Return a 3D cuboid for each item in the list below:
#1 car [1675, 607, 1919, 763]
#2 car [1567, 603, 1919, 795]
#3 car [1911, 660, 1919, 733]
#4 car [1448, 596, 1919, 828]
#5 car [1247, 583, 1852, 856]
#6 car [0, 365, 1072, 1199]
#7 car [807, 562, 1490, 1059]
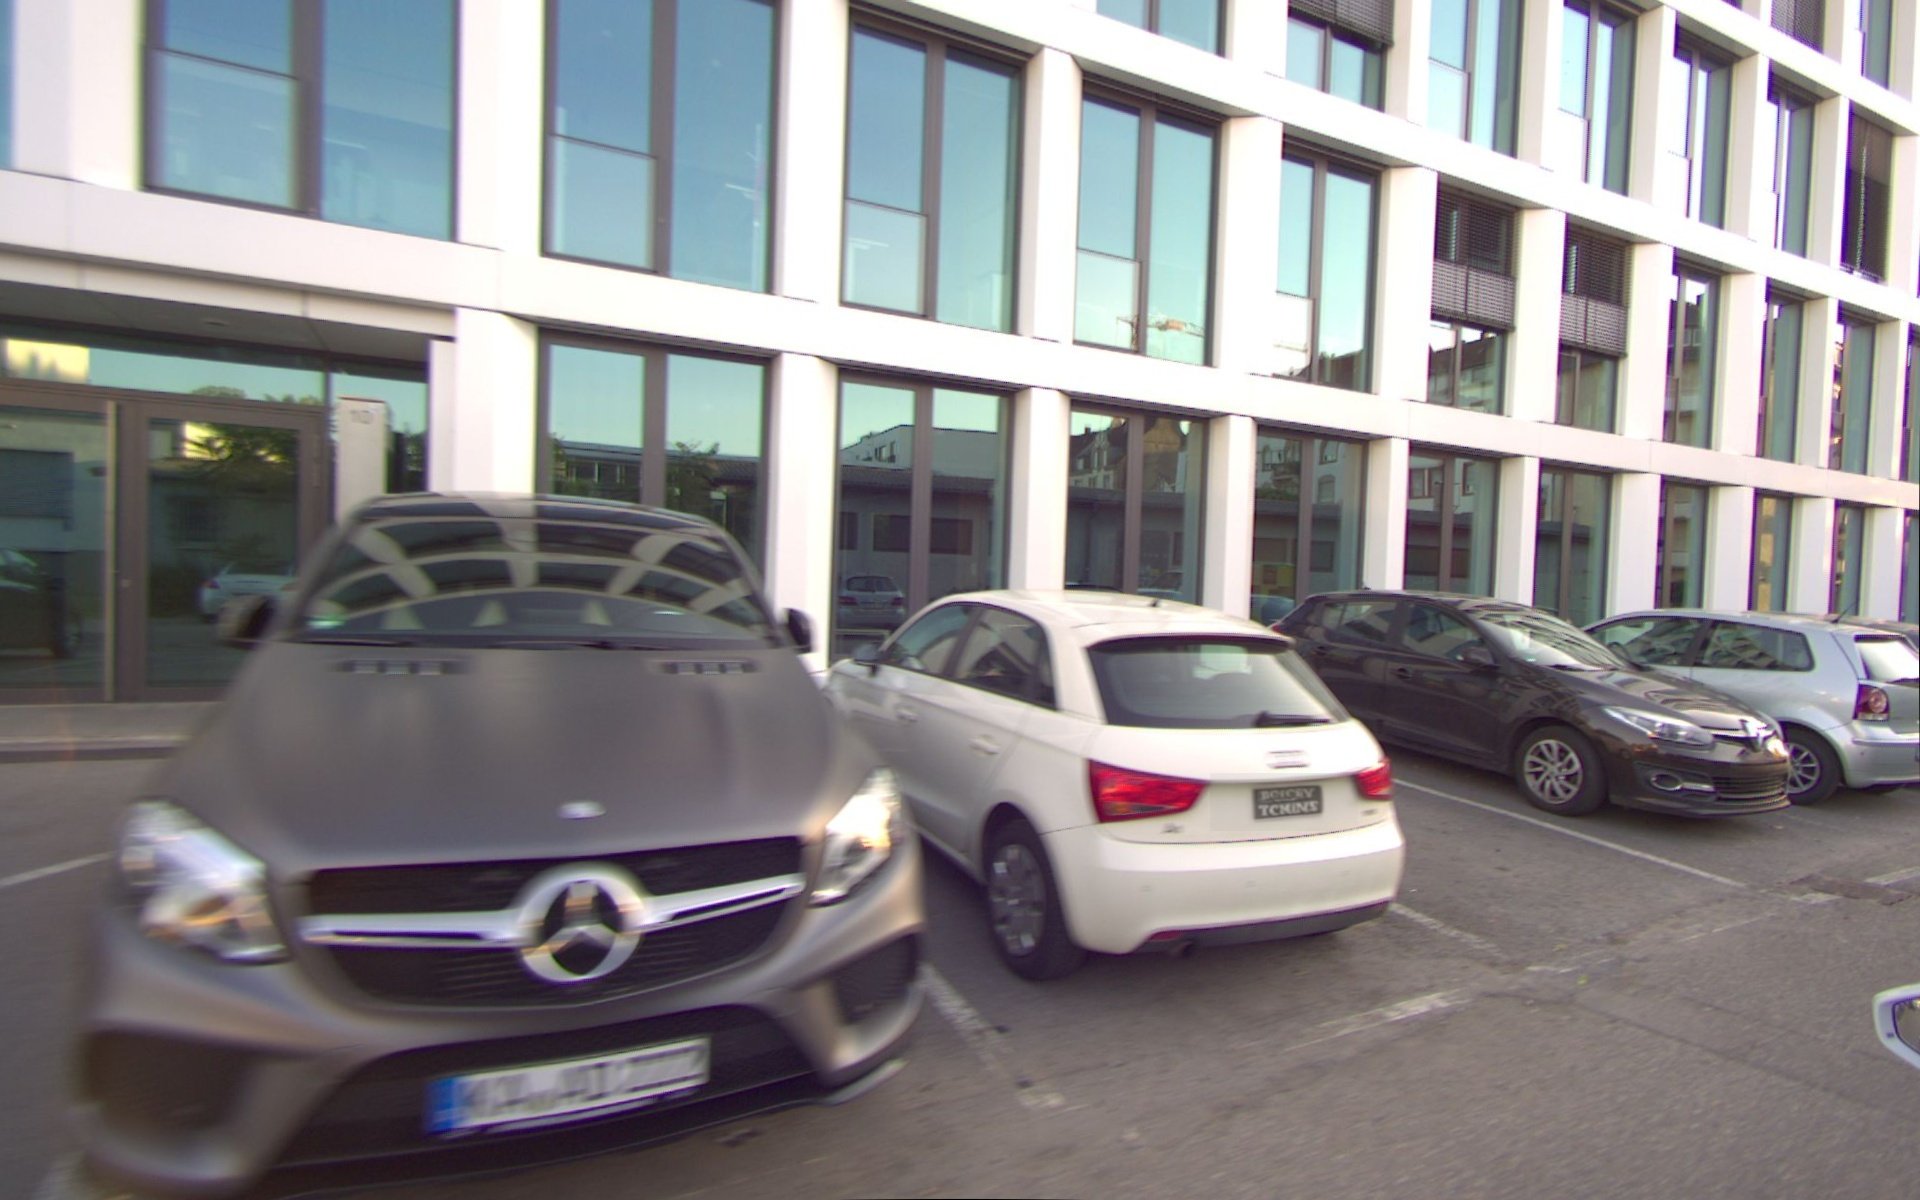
[{"bbox_3d":[10.838,0.967,11.539,1.665,1.532,3.912,1,2,-26],"label":"car"},{"bbox_3d":[8.647,0.903,10.431,1.666,1.532,3.640,1,2,-27],"label":"car"},{"bbox_3d":[14.617,1.113,13.314,4.150,1.458,1.640,2,5,-29],"label":"car"},{"bbox_3d":[6.746,0.830,9.365,1.666,1.532,3.640,1,2,-27],"label":"car"},{"bbox_3d":[4.442,0.715,8.293,1.772,1.532,3.950,1,2,-26],"label":"car"},{"bbox_3d":[-1.581,0.402,4.095,1.976,1.729,4.606,1,2,-24],"label":"car"},{"bbox_3d":[0.513,0.627,5.198,1.672,1.532,3.656,1,2,-24],"label":"car"}]
